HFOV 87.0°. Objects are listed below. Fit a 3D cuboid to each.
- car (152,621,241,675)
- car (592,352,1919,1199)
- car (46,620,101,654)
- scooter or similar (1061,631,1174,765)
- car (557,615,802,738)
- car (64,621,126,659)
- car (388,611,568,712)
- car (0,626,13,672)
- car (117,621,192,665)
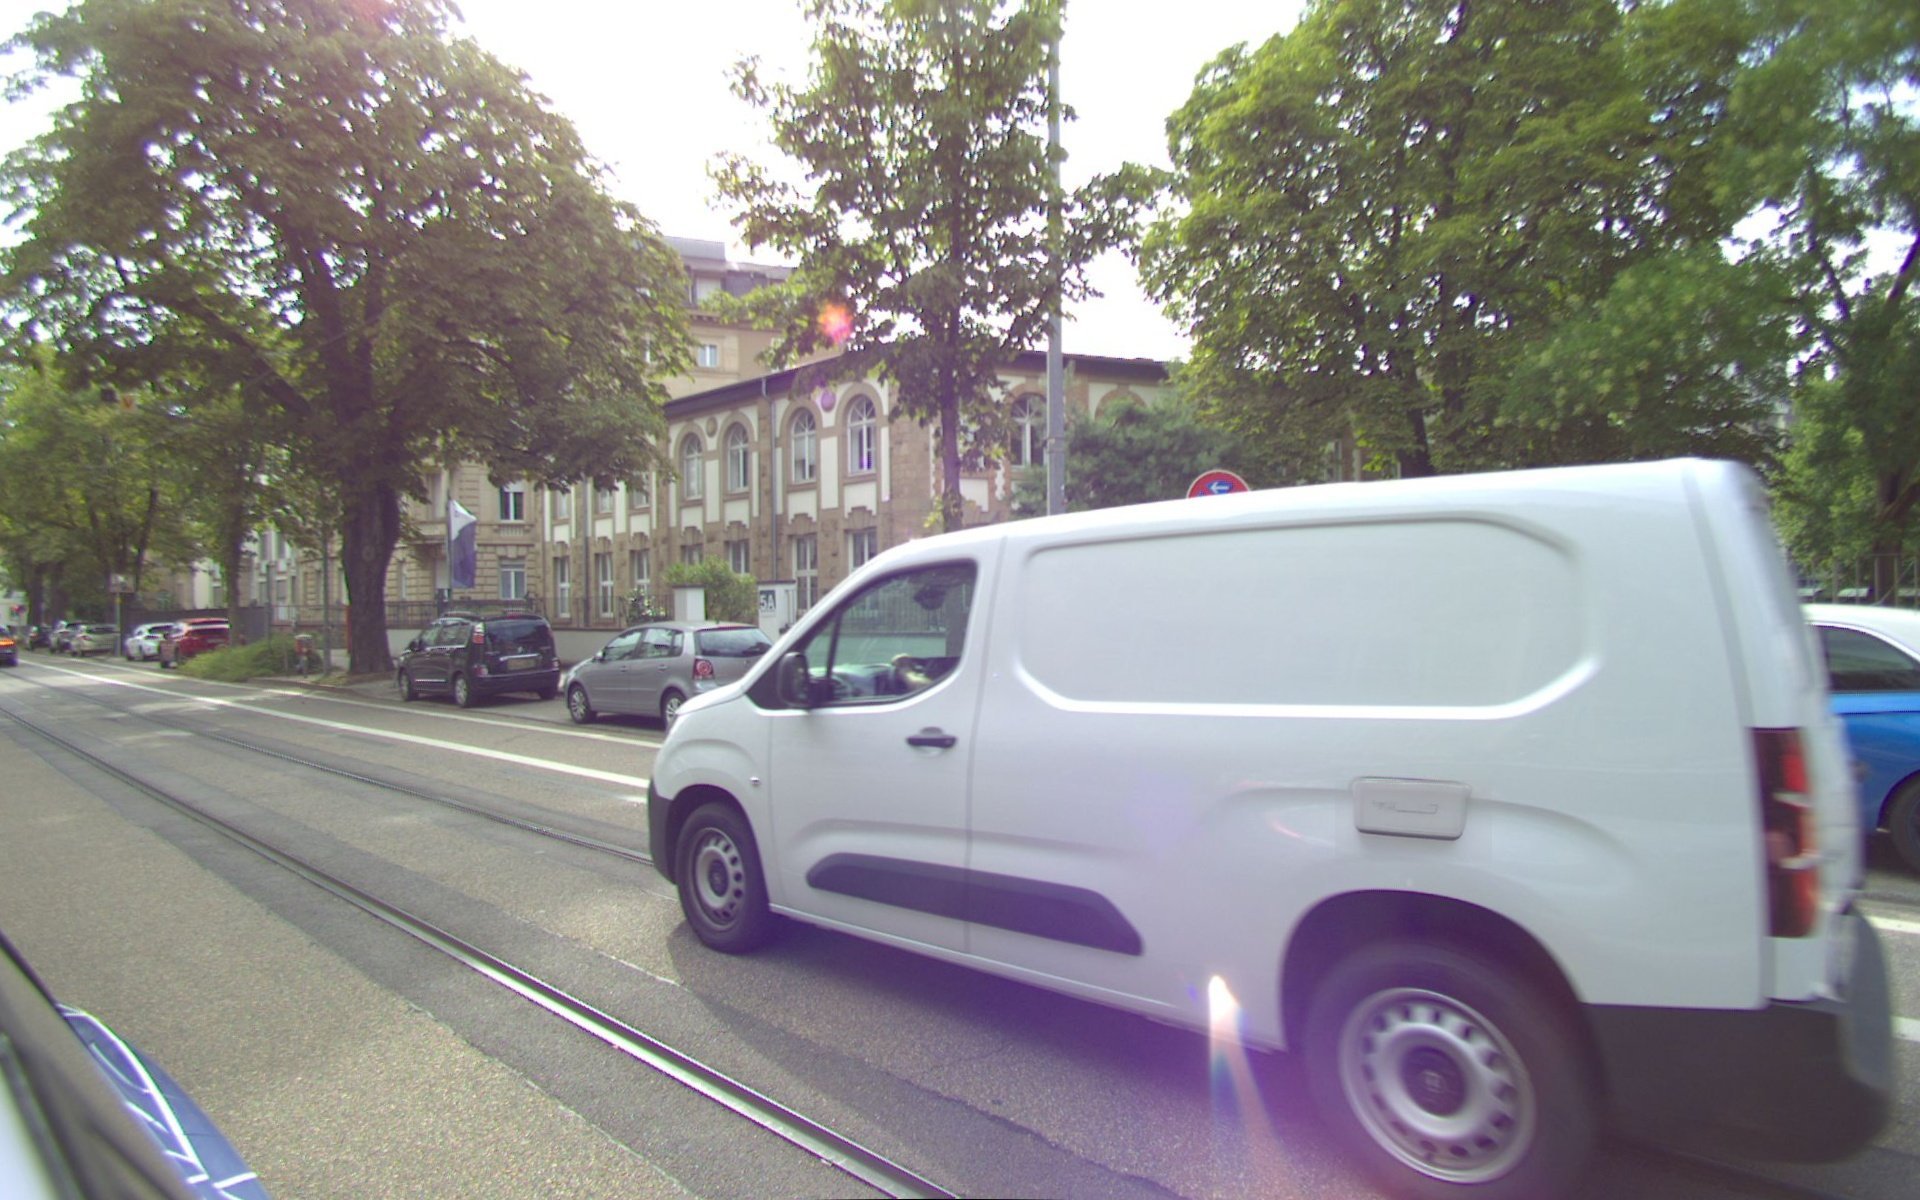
[{"bbox_3d":[-25.670,1.573,33.978,3.904,1.646,1.637,-2,-1,41],"label":"car"},{"bbox_3d":[0.592,0.518,3.958,4.676,1.837,1.776,-2,-1,41],"label":"car"},{"bbox_3d":[-45.414,1.882,51.823,3.904,1.646,1.637,-2,-1,41],"label":"car"},{"bbox_3d":[1.482,0.898,9.508,0.987,1.176,0.370,-1,-1,-24],"label":"scooter or similar"},{"bbox_3d":[-4.012,0.986,14.211,3.572,1.476,1.611,-2,-1,41],"label":"car"},{"bbox_3d":[-40.065,1.814,46.830,3.904,1.646,1.637,-2,-1,41],"label":"car"},{"bbox_3d":[-8.916,1.069,18.610,3.723,1.646,1.637,-2,-1,41],"label":"car"},{"bbox_3d":[-34.053,1.698,34.797,4.142,1.526,1.763,-2,-1,41],"label":"car"},{"bbox_3d":[-31.949,1.668,40.115,3.904,1.613,1.637,-2,-1,41],"label":"car"}]
